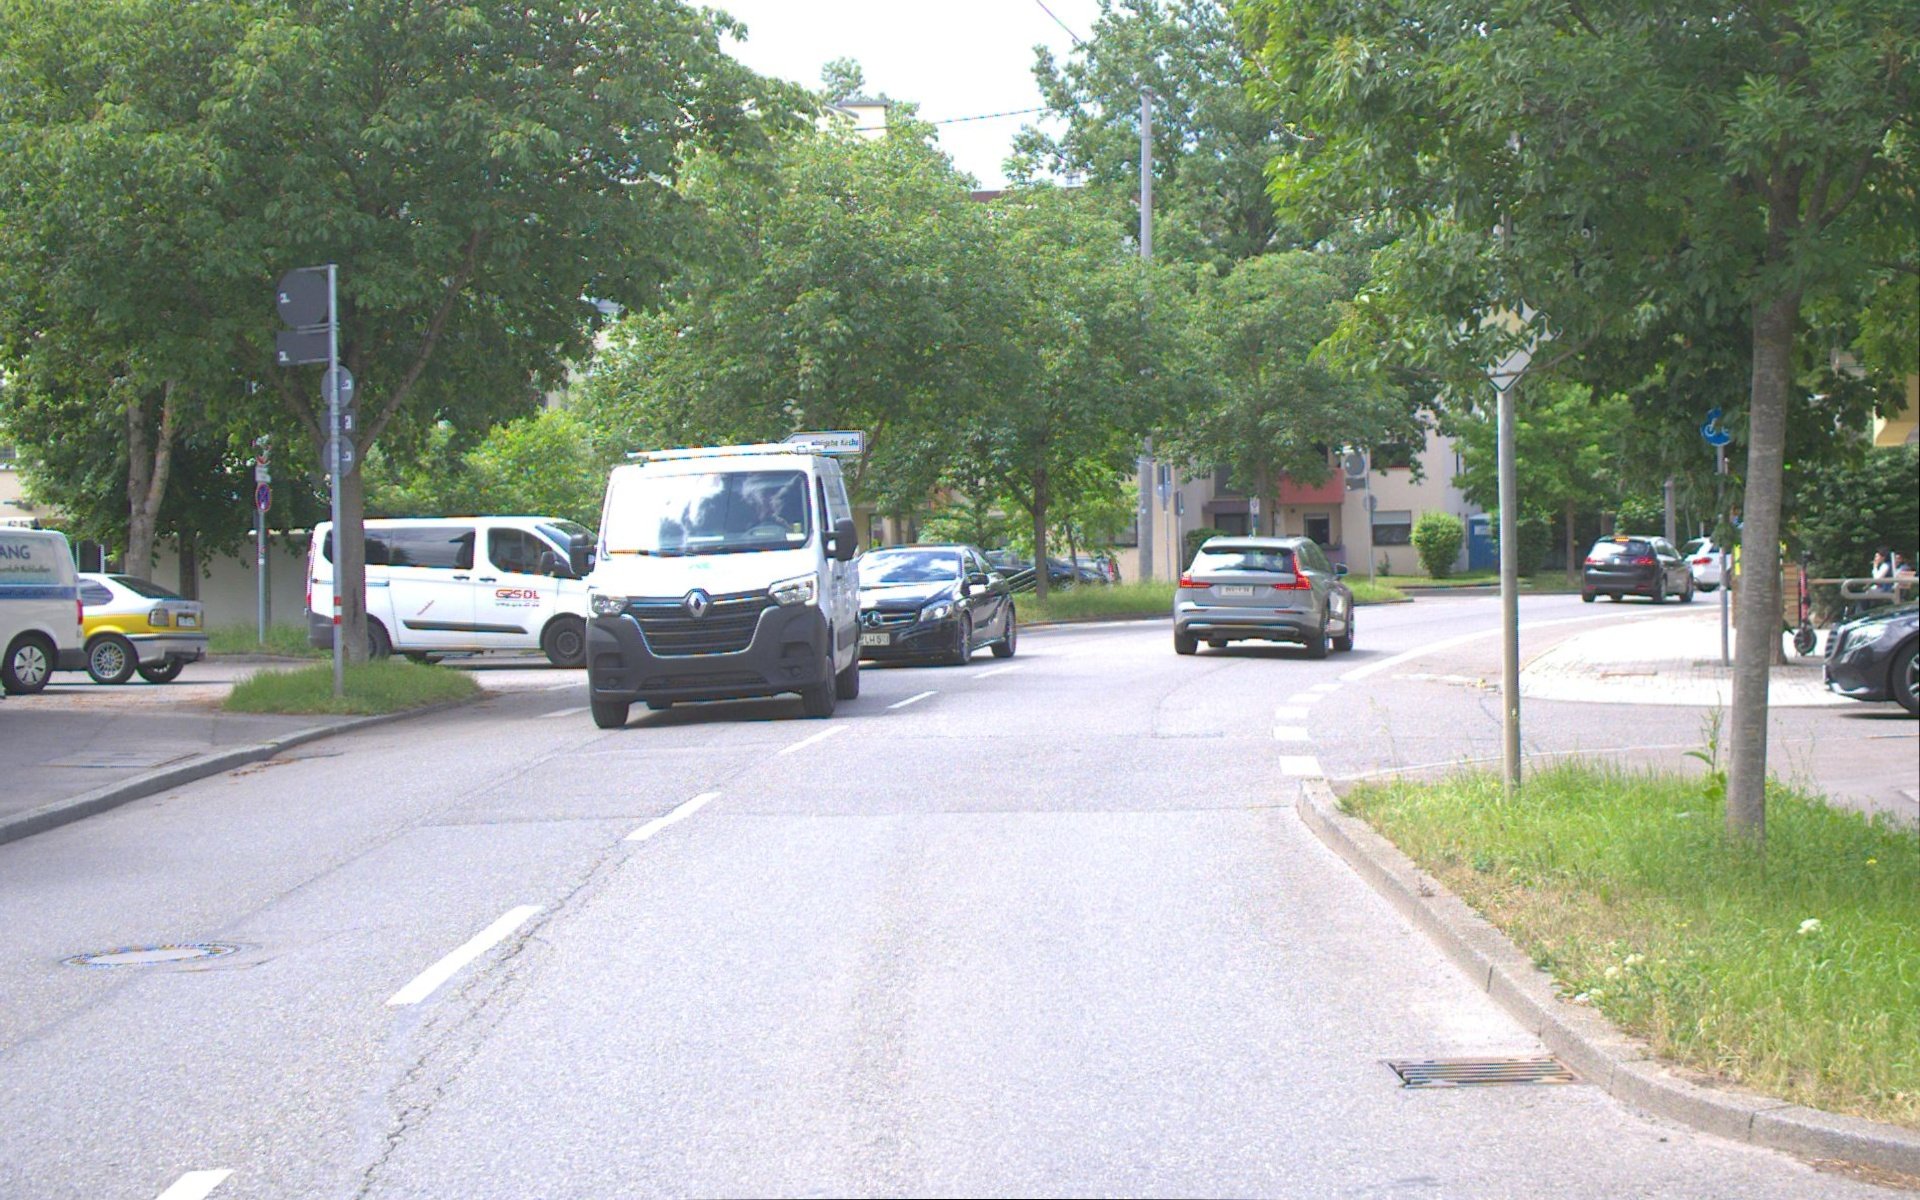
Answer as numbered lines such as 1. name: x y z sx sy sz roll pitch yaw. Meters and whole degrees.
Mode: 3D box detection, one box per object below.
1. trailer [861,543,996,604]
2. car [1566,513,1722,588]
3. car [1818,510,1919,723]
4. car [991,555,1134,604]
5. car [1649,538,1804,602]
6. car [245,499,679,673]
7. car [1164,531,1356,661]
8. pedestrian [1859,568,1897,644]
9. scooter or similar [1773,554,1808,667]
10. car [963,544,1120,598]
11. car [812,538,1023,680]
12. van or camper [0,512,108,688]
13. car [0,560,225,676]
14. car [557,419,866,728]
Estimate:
1. trailer: -0.975 -0.817 106.818 3.908 1.793 1.629 0 -3 13
2. car: 14.681 -1.079 73.637 1.808 1.518 4.321 3 3 32
3. car: 9.148 0.126 26.795 4.674 1.623 1.809 0 0 11
4. car: 3.168 -0.629 105.643 4.080 1.395 1.793 0 -3 15
5. car: 21.093 -0.807 94.521 4.316 1.611 1.810 1 1 -39
6. car: -6.599 -0.188 45.654 5.216 1.987 2.107 -3 1 18
7. car: 3.830 -0.095 43.304 1.957 1.518 4.327 0 2 11
8. pedestrian: 14.599 0.093 54.672 0.577 1.199 0.503 0 0 16
9. scooter or similar: 9.844 0.120 40.755 0.381 1.312 1.458 0 0 13
10. car: 2.299 -0.806 96.679 4.080 1.395 1.793 0 -3 15
11. car: -0.447 0.075 40.850 1.687 1.477 4.225 -4 0 9
12. van or camper: -11.940 0.014 38.876 1.788 1.987 4.370 -1 0 35
13. car: -11.508 0.235 43.263 4.018 1.408 1.815 -1 0 12
14. car: -2.064 -0.274 30.165 2.063 2.345 5.183 -4 1 1
